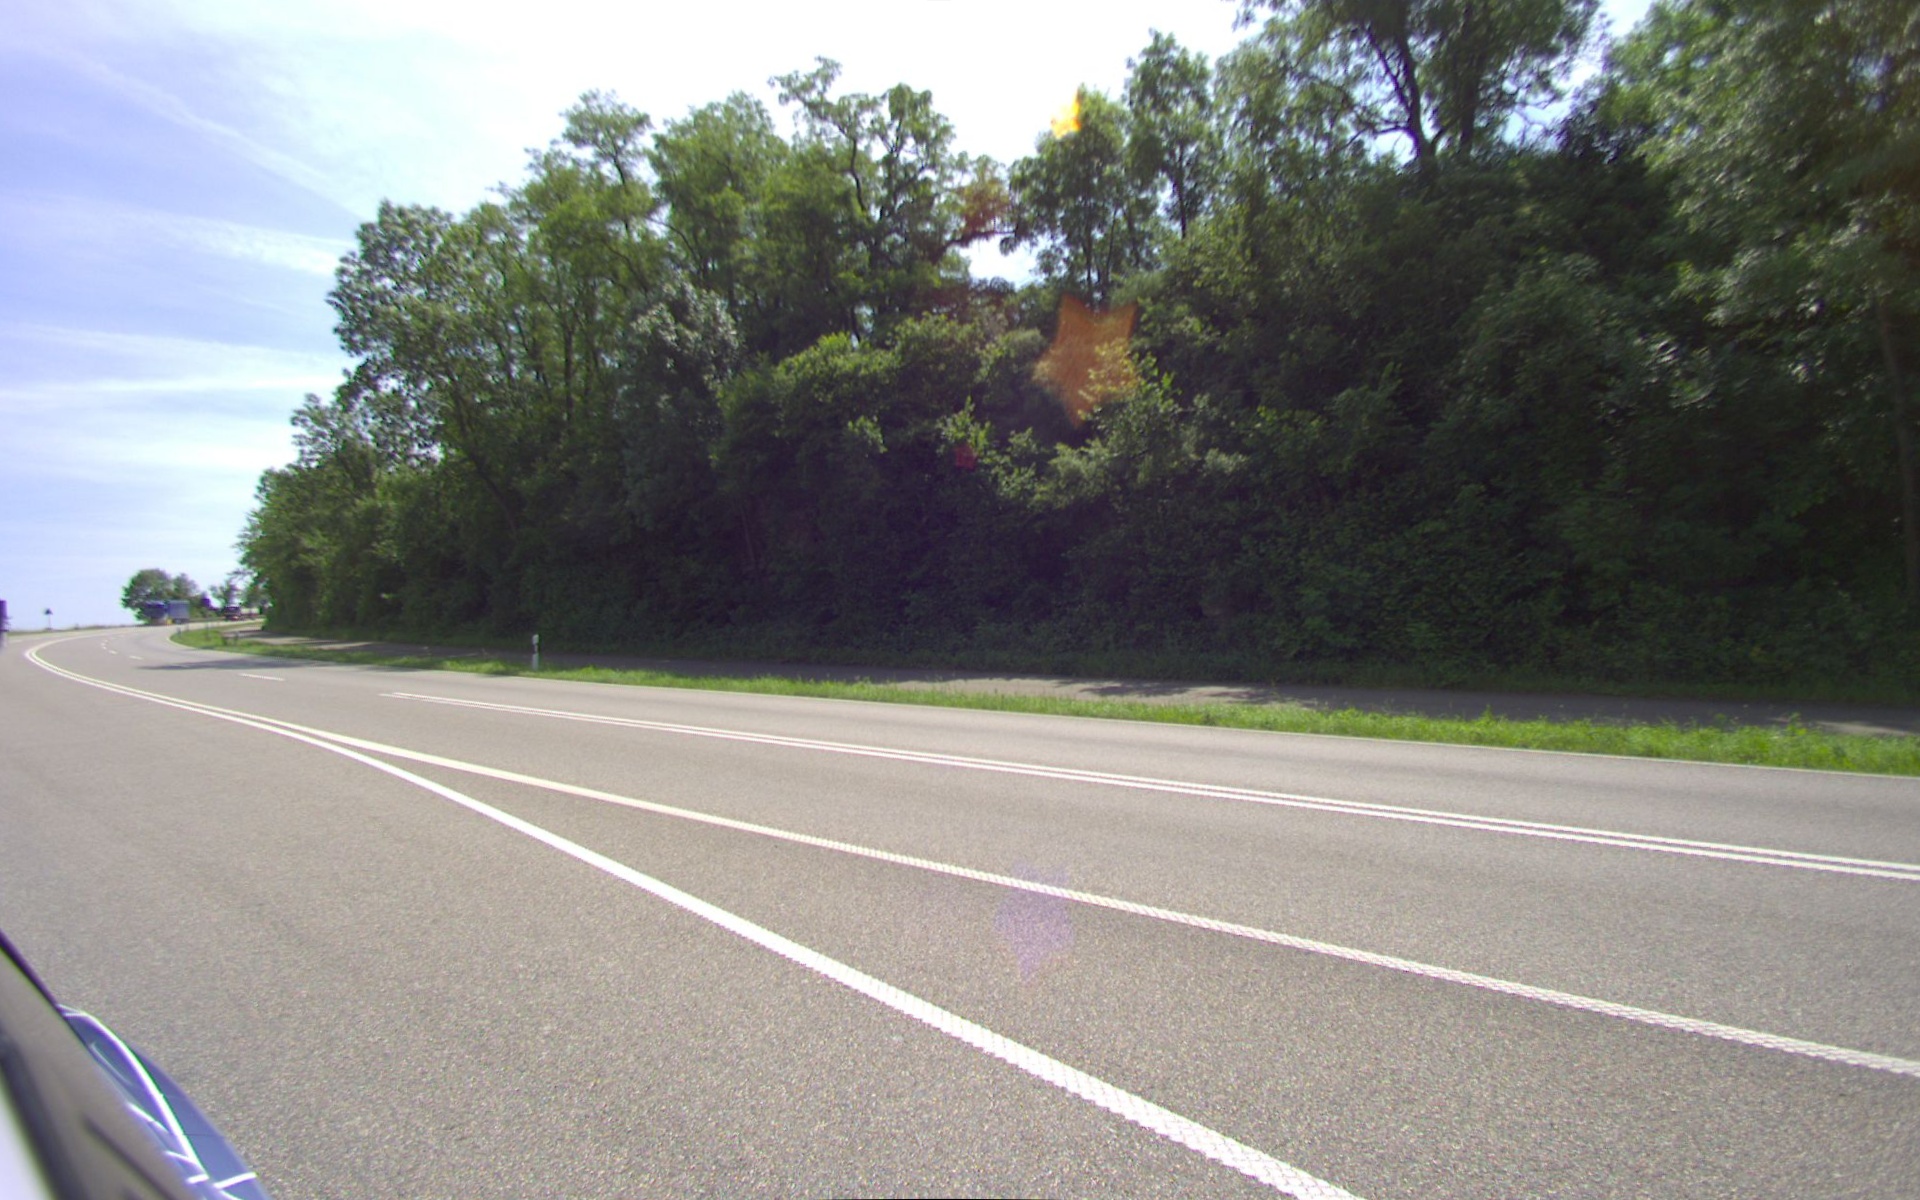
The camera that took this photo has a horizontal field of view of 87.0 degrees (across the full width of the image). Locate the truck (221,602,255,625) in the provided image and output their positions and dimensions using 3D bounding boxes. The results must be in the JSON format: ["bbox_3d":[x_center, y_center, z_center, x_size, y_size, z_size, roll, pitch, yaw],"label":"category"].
[{"bbox_3d":[-147.869,2.751,207.406,3.921,4.493,14.385,-1,-1,-28],"label":"truck"}]

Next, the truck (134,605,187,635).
[{"bbox_3d":[-130.088,3.216,164.932,4.325,4.493,14.758,-1,-1,-28],"label":"truck"}]
